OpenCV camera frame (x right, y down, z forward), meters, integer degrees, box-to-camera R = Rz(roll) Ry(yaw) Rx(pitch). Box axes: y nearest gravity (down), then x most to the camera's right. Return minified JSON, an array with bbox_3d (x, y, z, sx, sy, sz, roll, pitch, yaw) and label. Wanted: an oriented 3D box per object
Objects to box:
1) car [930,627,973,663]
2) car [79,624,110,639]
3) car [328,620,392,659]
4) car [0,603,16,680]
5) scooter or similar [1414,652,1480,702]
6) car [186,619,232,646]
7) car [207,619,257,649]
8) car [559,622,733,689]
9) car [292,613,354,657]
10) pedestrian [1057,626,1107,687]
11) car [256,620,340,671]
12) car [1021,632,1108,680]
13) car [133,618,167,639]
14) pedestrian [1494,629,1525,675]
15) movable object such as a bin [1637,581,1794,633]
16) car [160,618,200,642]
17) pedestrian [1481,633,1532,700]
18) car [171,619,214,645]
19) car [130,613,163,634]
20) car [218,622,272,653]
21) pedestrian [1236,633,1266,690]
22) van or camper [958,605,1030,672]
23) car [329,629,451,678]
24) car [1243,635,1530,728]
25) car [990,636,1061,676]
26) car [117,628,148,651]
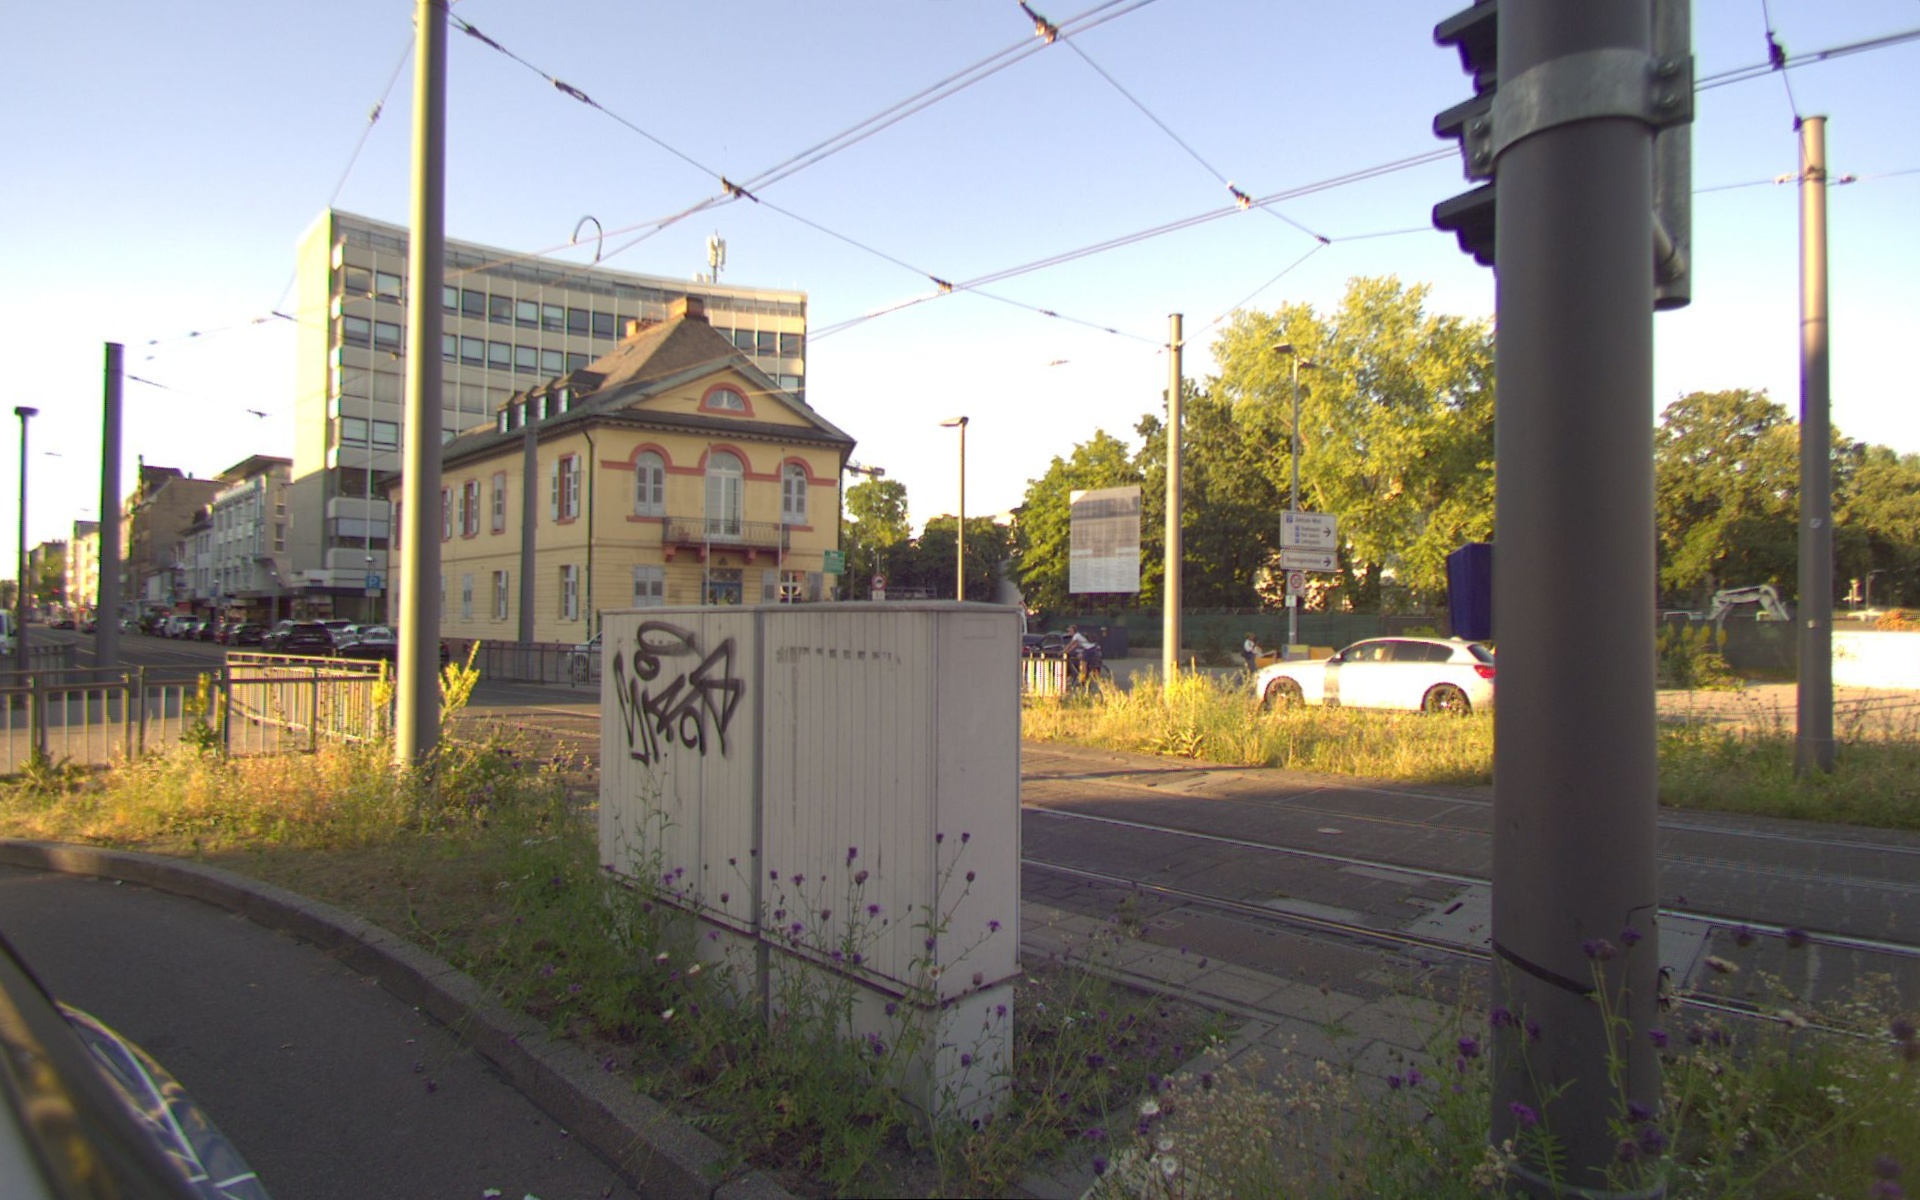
[{"bbox_3d":[-0.527,2.467,55.731,1.690,1.863,4.030,2,-2,-10],"label":"car"},{"bbox_3d":[-88.564,3.250,103.583,3.998,1.519,1.824,-1,-3,41],"label":"car"},{"bbox_3d":[-27.772,1.811,46.812,3.440,1.721,1.712,-1,-3,44],"label":"car"},{"bbox_3d":[-25.294,1.010,25.616,1.970,1.852,4.880,2,-3,-43],"label":"car"},{"bbox_3d":[11.931,1.884,24.803,1.383,1.175,0.461,1,-2,-3],"label":"scooter or similar"},{"bbox_3d":[-55.990,2.449,75.446,4.000,1.962,1.972,-1,-3,43],"label":"car"},{"bbox_3d":[-49.390,2.302,68.629,4.000,1.962,1.972,-1,-3,43],"label":"car"},{"bbox_3d":[-7.990,1.375,25.771,4.046,1.610,1.825,-1,-2,24],"label":"car"},{"bbox_3d":[-31.646,1.723,50.254,3.808,1.720,1.712,7,3,44],"label":"car"},{"bbox_3d":[3.095,1.427,25.789,1.028,1.514,1.006,1,-2,-8],"label":"pedestrian"},{"bbox_3d":[-27.385,1.859,41.822,4.120,2.005,1.971,-1,-3,44],"label":"car"},{"bbox_3d":[3.579,1.918,35.388,1.754,1.555,4.301,1,-2,-12],"label":"car"},{"bbox_3d":[-79.394,2.782,99.169,4.000,1.962,1.972,-1,-3,43],"label":"car"},{"bbox_3d":[20.183,1.892,37.174,0.810,1.678,0.765,2,-3,-42],"label":"pedestrian"},{"bbox_3d":[31.637,0.341,42.614,1.966,2.029,5.039,1,-2,-18],"label":"movable object such as a bin"},{"bbox_3d":[-65.724,2.519,85.296,4.000,1.962,1.972,-1,-3,43],"label":"car"},{"bbox_3d":[14.540,1.763,26.926,0.865,1.737,0.830,2,-2,-6],"label":"pedestrian"},{"bbox_3d":[-60.750,2.510,80.058,4.000,1.962,1.972,-1,-3,43],"label":"car"},{"bbox_3d":[-83.517,2.375,103.859,3.998,2.029,1.973,-1,0,41],"label":"car"},{"bbox_3d":[-45.858,2.401,64.900,4.000,1.915,1.972,-1,-3,43],"label":"car"},{"bbox_3d":[8.415,1.769,29.273,0.596,1.626,0.680,-1,-3,41],"label":"pedestrian"},{"bbox_3d":[1.437,1.760,46.053,2.050,2.796,6.462,1,-2,-9],"label":"van or camper"},{"bbox_3d":[-18.147,1.655,32.124,4.655,1.439,1.991,-1,-3,42],"label":"car"},{"bbox_3d":[7.425,1.342,17.807,4.331,1.421,1.891,-1,-2,37],"label":"car"},{"bbox_3d":[2.536,2.174,40.004,1.706,1.440,4.483,2,-2,-11],"label":"car"},{"bbox_3d":[-88.948,4.255,108.812,4.000,2.394,1.972,-1,-3,43],"label":"car"}]
